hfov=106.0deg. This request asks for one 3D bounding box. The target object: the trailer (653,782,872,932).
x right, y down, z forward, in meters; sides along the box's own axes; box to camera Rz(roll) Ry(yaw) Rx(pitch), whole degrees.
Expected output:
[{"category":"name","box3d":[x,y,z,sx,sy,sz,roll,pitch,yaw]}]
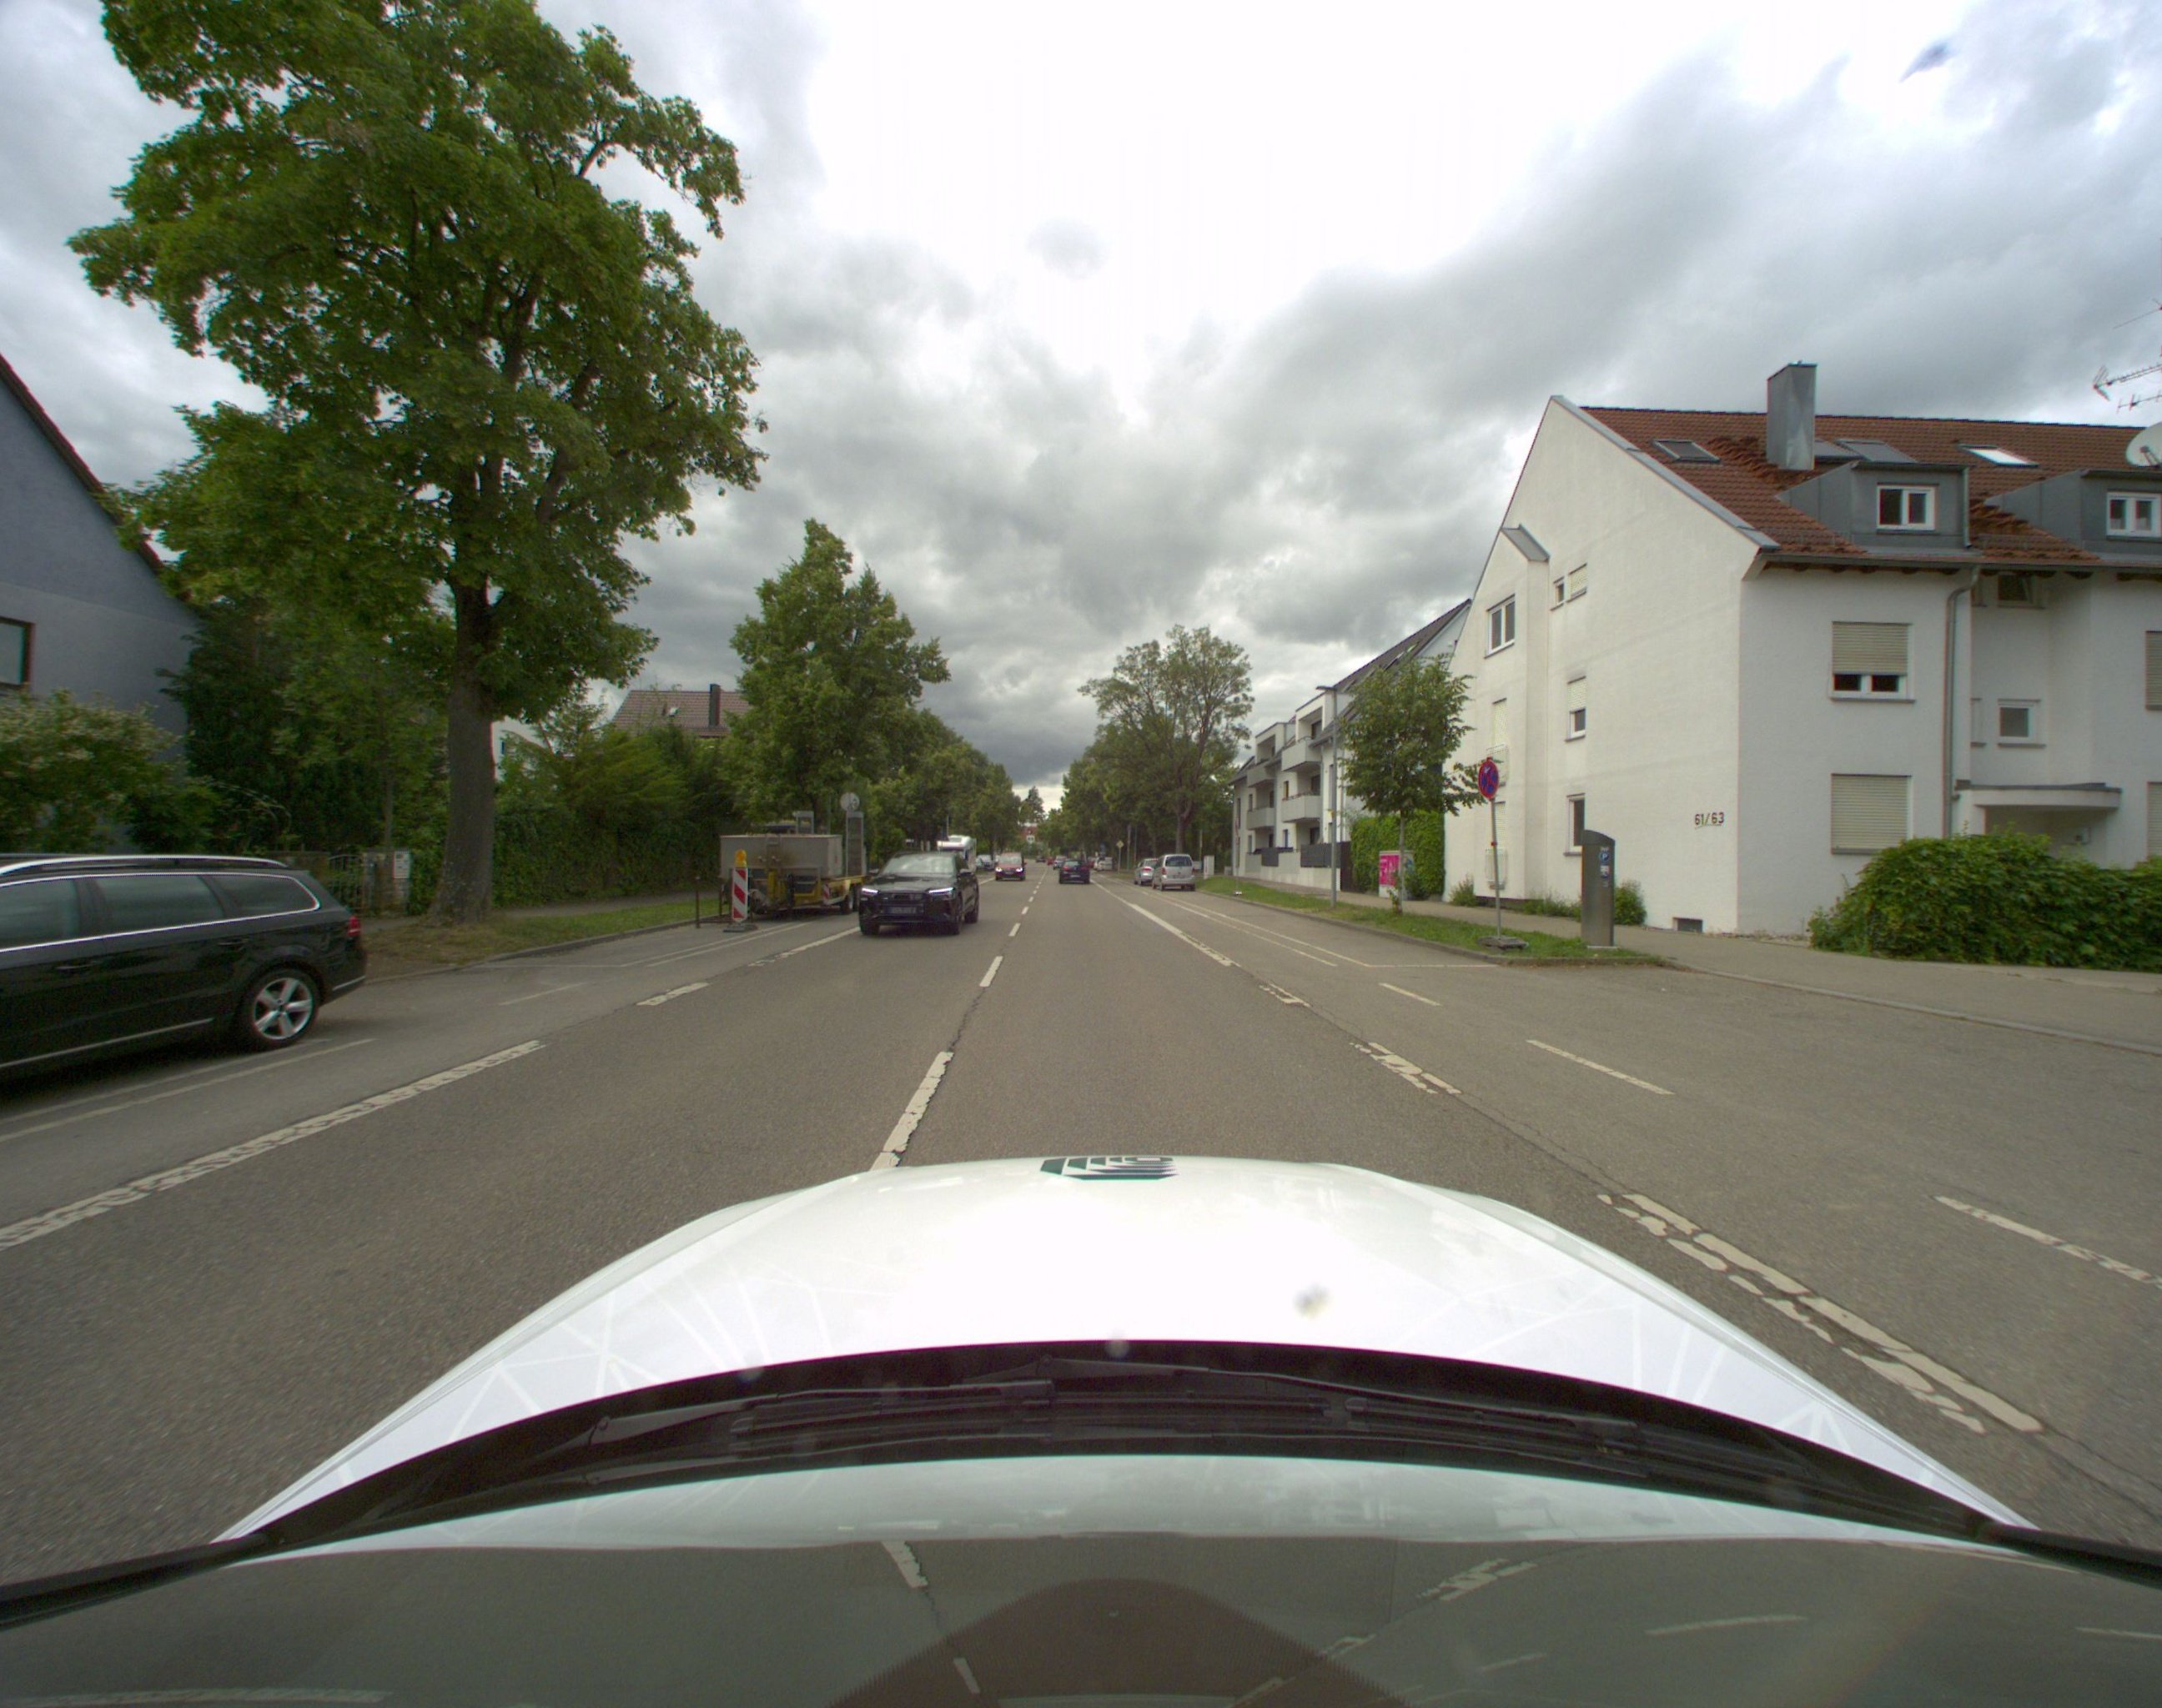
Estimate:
[{"category":"trailer","box3d":[-7.307,0.127,20.008,2.667,2.941,7.467,1,-1,-3]}]

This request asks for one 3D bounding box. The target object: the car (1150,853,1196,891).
[{"category":"car","box3d":[4.300,0.823,38.464,1.628,1.665,3.645,0,0,-2]}]

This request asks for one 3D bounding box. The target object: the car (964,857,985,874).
[{"category":"car","box3d":[-9.582,1.010,73.482,1.552,1.470,4.446,1,0,-4]}]

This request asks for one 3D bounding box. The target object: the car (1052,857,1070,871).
[{"category":"car","box3d":[-2.362,1.218,95.913,1.988,1.558,3.996,0,-2,-2]}]

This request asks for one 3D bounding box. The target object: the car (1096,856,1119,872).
[{"category":"car","box3d":[2.644,0.989,81.903,2.015,1.443,5.021,1,0,-2]}]

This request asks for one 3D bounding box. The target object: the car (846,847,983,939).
[{"category":"car","box3d":[-3.342,0.732,17.290,1.987,1.668,4.587,-1,0,-1]}]

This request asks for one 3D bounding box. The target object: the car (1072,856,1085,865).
[{"category":"car","box3d":[-0.447,1.062,137.117,1.682,1.432,4.034,0,0,-7]}]

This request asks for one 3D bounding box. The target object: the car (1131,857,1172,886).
[{"category":"car","box3d":[3.760,0.896,44.215,1.683,1.493,4.223,0,0,-3]}]

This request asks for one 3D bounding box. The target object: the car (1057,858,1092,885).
[{"category":"car","box3d":[-0.392,0.992,47.083,1.780,1.449,3.552,1,-1,-4]}]

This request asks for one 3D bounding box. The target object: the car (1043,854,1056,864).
[{"category":"car","box3d":[-5.051,0.853,132.234,1.990,1.530,3.994,0,0,-4]}]

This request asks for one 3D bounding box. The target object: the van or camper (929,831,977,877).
[{"category":"van or camper","box3d":[-8.924,0.036,57.504,2.429,3.009,7.687,0,0,-2]}]

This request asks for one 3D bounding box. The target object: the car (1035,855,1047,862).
[{"category":"car","box3d":[-8.188,0.922,165.971,1.992,1.508,3.990,1,-1,-7]}]

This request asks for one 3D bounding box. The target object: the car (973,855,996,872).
[{"category":"car","box3d":[-9.867,0.944,83.287,1.811,1.652,4.697,1,0,0]}]

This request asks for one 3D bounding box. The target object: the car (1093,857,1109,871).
[{"category":"car","box3d":[2.219,1.108,90.329,1.612,1.460,3.654,0,0,-2]}]

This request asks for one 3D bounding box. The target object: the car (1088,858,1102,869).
[{"category":"car","box3d":[1.759,1.182,102.205,1.633,1.420,3.999,0,0,-1]}]

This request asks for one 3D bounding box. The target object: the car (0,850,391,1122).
[{"category":"car","box3d":[-7.103,0.755,4.977,1.855,1.553,4.615,1,-2,-2]}]

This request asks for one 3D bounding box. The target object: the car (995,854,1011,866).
[{"category":"car","box3d":[-10.500,0.805,110.474,1.869,1.688,4.861,0,0,-2]}]

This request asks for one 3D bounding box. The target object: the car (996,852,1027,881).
[{"category":"car","box3d":[-4.419,0.781,52.457,1.756,1.803,4.764,0,0,-2]}]
